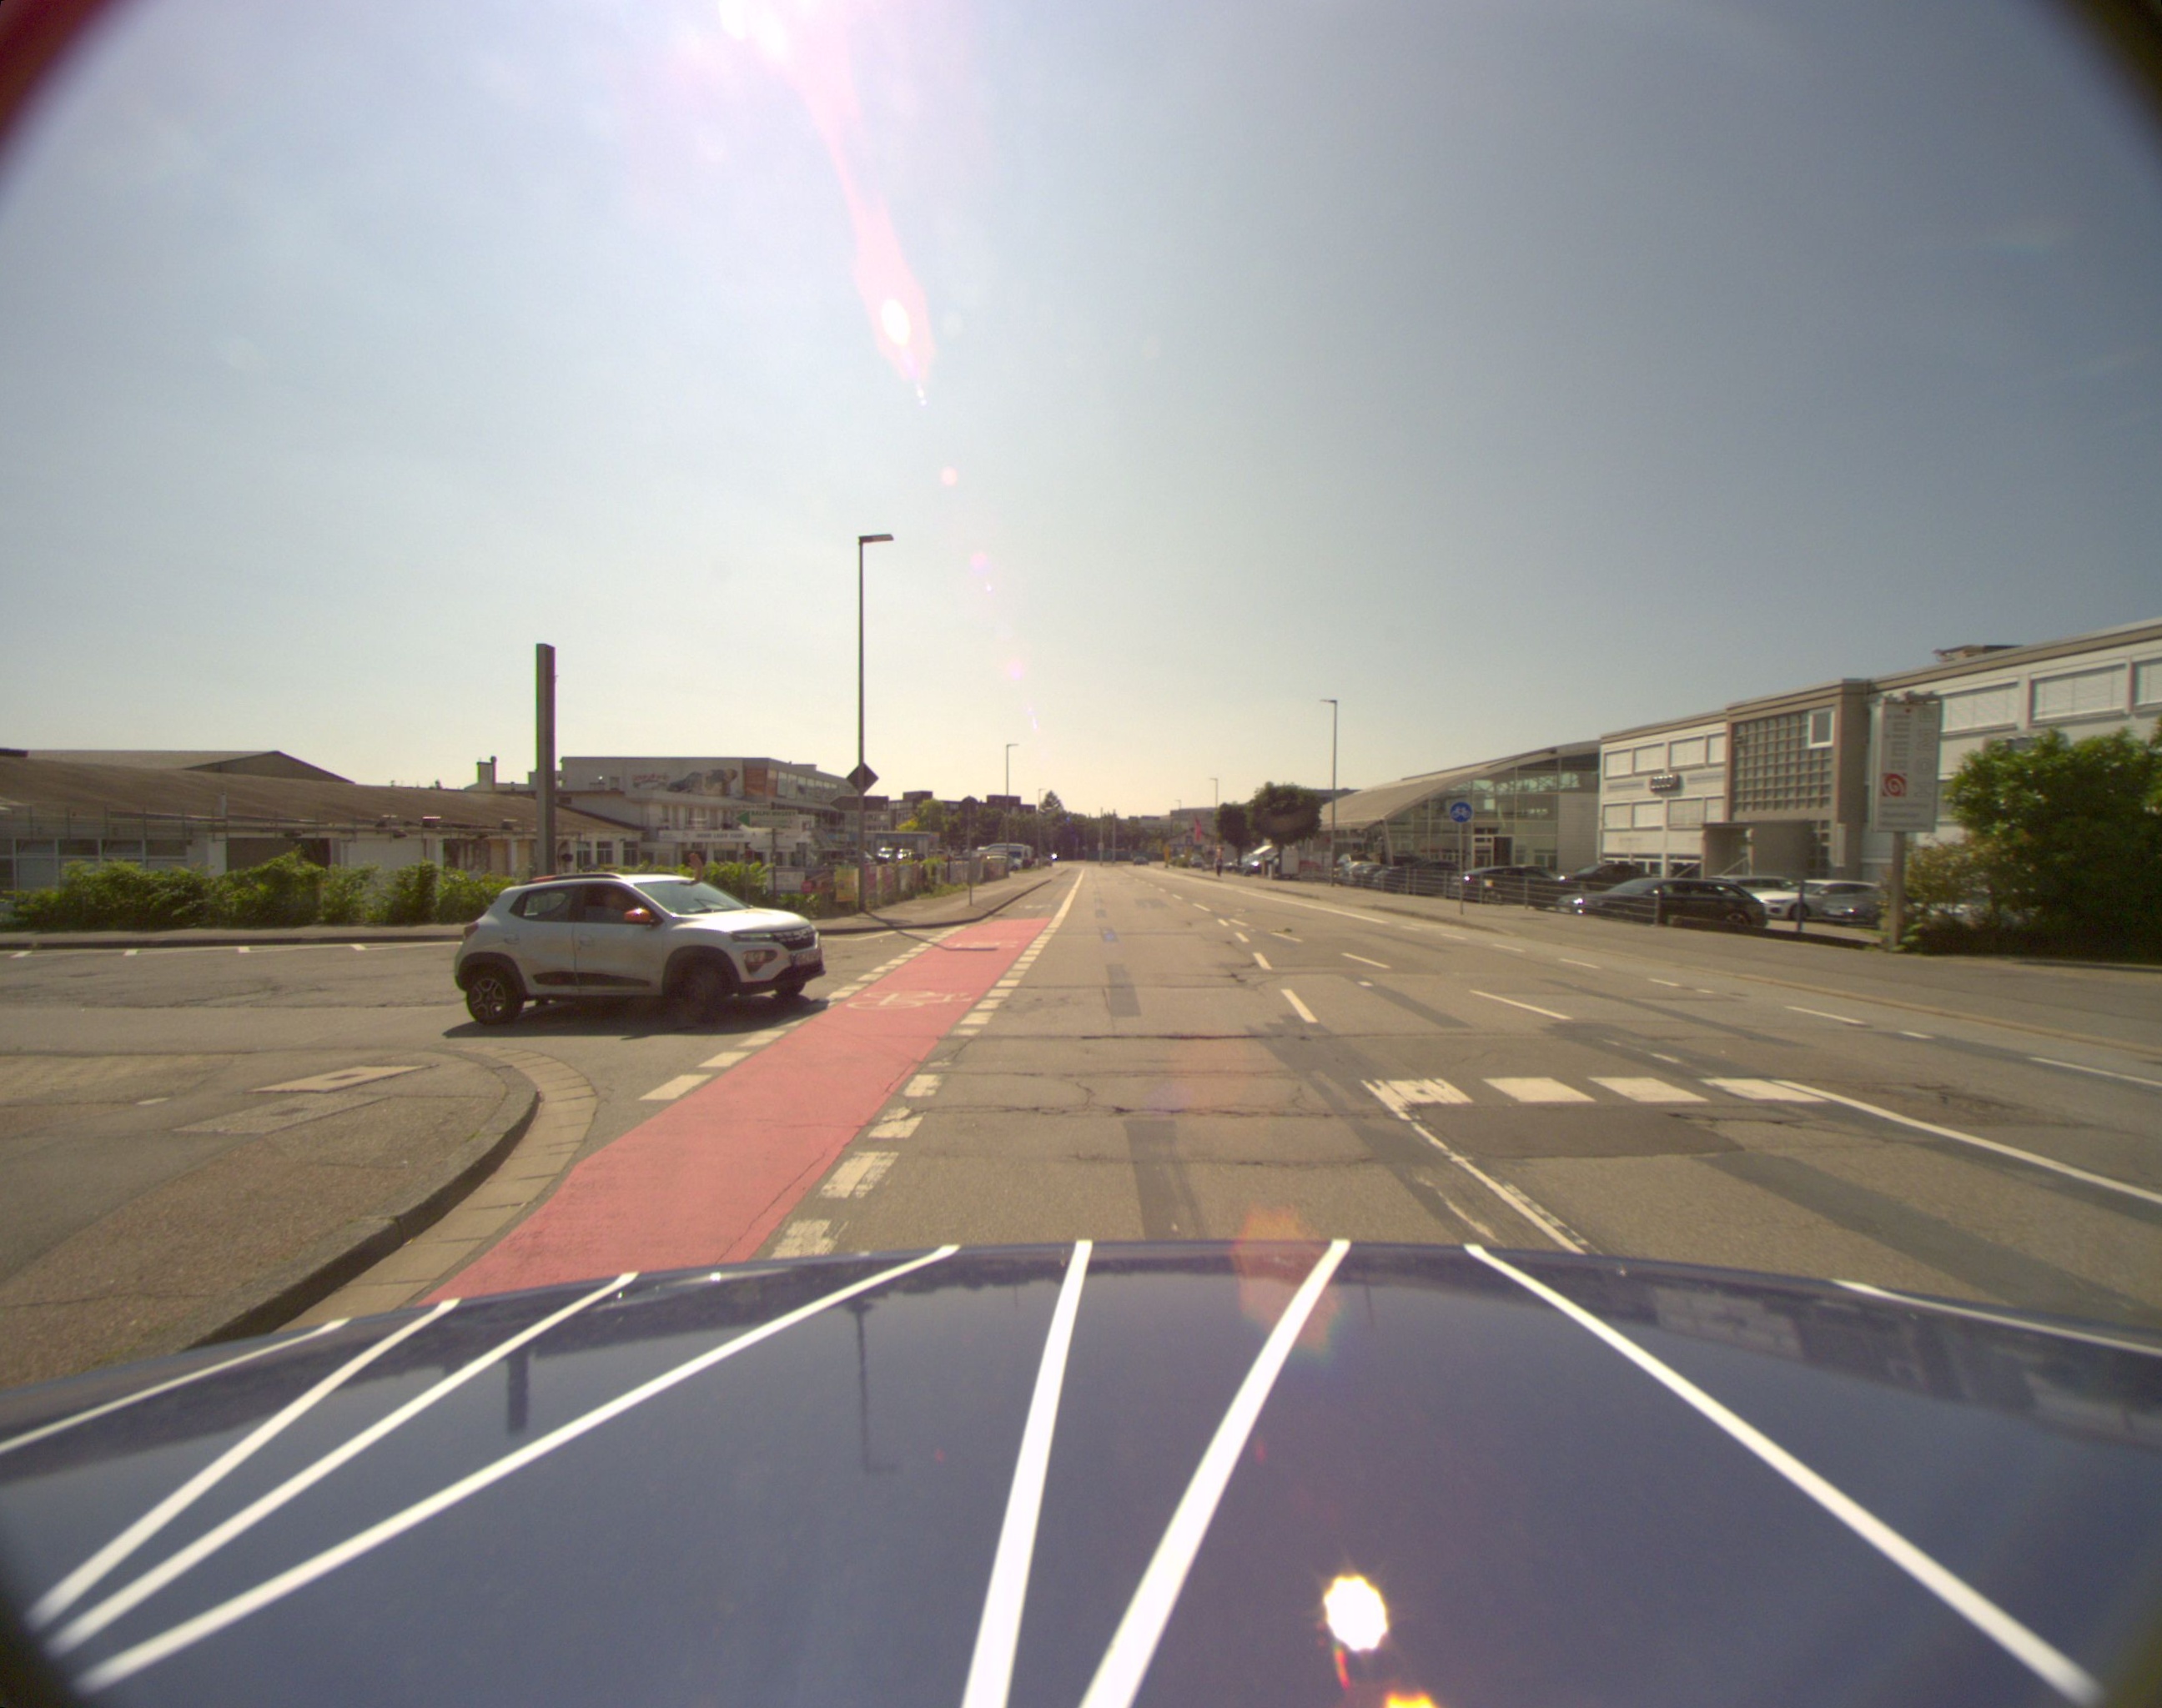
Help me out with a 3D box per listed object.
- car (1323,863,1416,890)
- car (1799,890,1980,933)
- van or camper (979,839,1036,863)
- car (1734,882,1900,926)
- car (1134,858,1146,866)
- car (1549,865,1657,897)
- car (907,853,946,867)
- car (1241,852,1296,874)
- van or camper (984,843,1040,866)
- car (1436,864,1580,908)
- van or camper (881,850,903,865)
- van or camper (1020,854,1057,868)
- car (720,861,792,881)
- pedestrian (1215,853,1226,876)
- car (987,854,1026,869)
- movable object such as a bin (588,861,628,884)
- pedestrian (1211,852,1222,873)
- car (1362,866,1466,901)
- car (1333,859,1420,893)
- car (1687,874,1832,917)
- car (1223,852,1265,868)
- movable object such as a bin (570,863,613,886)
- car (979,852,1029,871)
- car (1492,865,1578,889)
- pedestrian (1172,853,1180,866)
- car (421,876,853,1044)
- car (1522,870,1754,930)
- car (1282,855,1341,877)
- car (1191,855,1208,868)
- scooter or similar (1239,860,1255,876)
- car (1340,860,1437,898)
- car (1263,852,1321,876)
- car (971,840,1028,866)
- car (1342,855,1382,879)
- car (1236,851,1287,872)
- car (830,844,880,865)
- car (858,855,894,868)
[{"bbox_3d":[16.372,1.260,43.219,4.536,1.449,1.900,0,0,-1],"label":"car"},{"bbox_3d":[26.391,1.846,24.900,3.997,1.257,1.859,0,0,-1],"label":"car"},{"bbox_3d":[-8.570,-0.365,88.924,6.365,2.684,2.712,0,0,1],"label":"van or camper"},{"bbox_3d":[26.132,1.753,27.112,3.995,1.395,1.816,0,2,4],"label":"car"},{"bbox_3d":[9.714,1.292,124.251,1.745,1.396,4.326,0,0,7],"label":"car"},{"bbox_3d":[26.885,1.386,39.229,4.366,1.544,1.859,0,0,-2],"label":"car"},{"bbox_3d":[-19.693,0.760,97.037,4.550,1.668,1.999,1,0,-3],"label":"car"},{"bbox_3d":[15.487,0.710,62.662,4.588,1.686,1.854,0,0,-35],"label":"car"},{"bbox_3d":[-8.295,0.071,91.704,6.365,2.700,2.712,0,0,1],"label":"van or camper"},{"bbox_3d":[15.910,1.188,28.464,4.308,1.549,1.995,0,0,-3],"label":"car"},{"bbox_3d":[-25.452,0.465,102.364,2.123,2.002,5.113,0,0,-5],"label":"van or camper"},{"bbox_3d":[-6.274,1.000,112.977,5.145,1.950,1.982,1,1,-30],"label":"van or camper"},{"bbox_3d":[-24.448,1.281,57.280,1.890,1.283,4.563,-1,1,42],"label":"car"},{"bbox_3d":[11.180,0.844,60.726,0.734,1.856,1.047,1,0,4],"label":"pedestrian"},{"bbox_3d":[-7.828,0.805,80.548,3.931,1.584,1.798,0,0,0],"label":"car"},{"bbox_3d":[-30.881,1.217,49.647,1.575,1.447,1.824,0,0,-4],"label":"movable object such as a bin"},{"bbox_3d":[11.737,0.759,65.914,0.725,1.837,0.911,1,0,0],"label":"pedestrian"},{"bbox_3d":[15.542,1.360,35.596,3.998,1.482,1.858,1,2,-3],"label":"car"},{"bbox_3d":[15.821,1.170,40.788,3.899,1.436,1.823,-3,3,2],"label":"car"},{"bbox_3d":[26.340,1.593,29.604,3.997,1.536,1.859,0,0,-1],"label":"car"},{"bbox_3d":[15.772,0.585,73.569,4.169,1.451,1.902,-1,1,-42],"label":"car"},{"bbox_3d":[-30.787,1.274,47.816,1.575,1.447,1.754,0,0,-4],"label":"movable object such as a bin"},{"bbox_3d":[-8.407,0.782,83.412,5.247,1.940,2.000,1,0,0],"label":"car"},{"bbox_3d":[26.750,1.342,44.851,3.997,1.351,1.859,0,0,0],"label":"car"},{"bbox_3d":[12.792,0.711,102.191,0.995,1.676,0.800,1,0,12],"label":"pedestrian"},{"bbox_3d":[-4.568,1.054,8.076,3.671,1.476,1.729,-2,0,10],"label":"car"},{"bbox_3d":[14.834,1.203,20.437,4.751,1.472,2.048,0,0,-1],"label":"car"},{"bbox_3d":[16.961,0.856,55.896,4.006,1.541,1.855,0,0,-30],"label":"car"},{"bbox_3d":[15.948,1.040,102.603,1.909,1.705,4.001,0,0,3],"label":"car"},{"bbox_3d":[13.133,1.093,60.182,0.746,1.240,1.489,0,0,-7],"label":"scooter or similar"},{"bbox_3d":[15.381,1.221,38.179,3.998,1.435,1.859,6,0,-2],"label":"car"},{"bbox_3d":[16.452,0.768,59.153,4.488,1.698,1.906,-2,1,-35],"label":"car"},{"bbox_3d":[-9.199,-0.078,86.078,6.243,2.852,2.320,0,0,1],"label":"car"},{"bbox_3d":[20.392,0.951,55.250,1.997,1.674,4.003,0,0,9],"label":"car"},{"bbox_3d":[15.749,0.612,66.260,4.209,1.487,1.870,-5,3,-34],"label":"car"},{"bbox_3d":[-26.971,0.045,90.942,5.312,2.404,2.325,1,0,-4],"label":"car"},{"bbox_3d":[-26.091,0.949,96.750,4.117,1.723,1.999,1,0,-3],"label":"car"}]
